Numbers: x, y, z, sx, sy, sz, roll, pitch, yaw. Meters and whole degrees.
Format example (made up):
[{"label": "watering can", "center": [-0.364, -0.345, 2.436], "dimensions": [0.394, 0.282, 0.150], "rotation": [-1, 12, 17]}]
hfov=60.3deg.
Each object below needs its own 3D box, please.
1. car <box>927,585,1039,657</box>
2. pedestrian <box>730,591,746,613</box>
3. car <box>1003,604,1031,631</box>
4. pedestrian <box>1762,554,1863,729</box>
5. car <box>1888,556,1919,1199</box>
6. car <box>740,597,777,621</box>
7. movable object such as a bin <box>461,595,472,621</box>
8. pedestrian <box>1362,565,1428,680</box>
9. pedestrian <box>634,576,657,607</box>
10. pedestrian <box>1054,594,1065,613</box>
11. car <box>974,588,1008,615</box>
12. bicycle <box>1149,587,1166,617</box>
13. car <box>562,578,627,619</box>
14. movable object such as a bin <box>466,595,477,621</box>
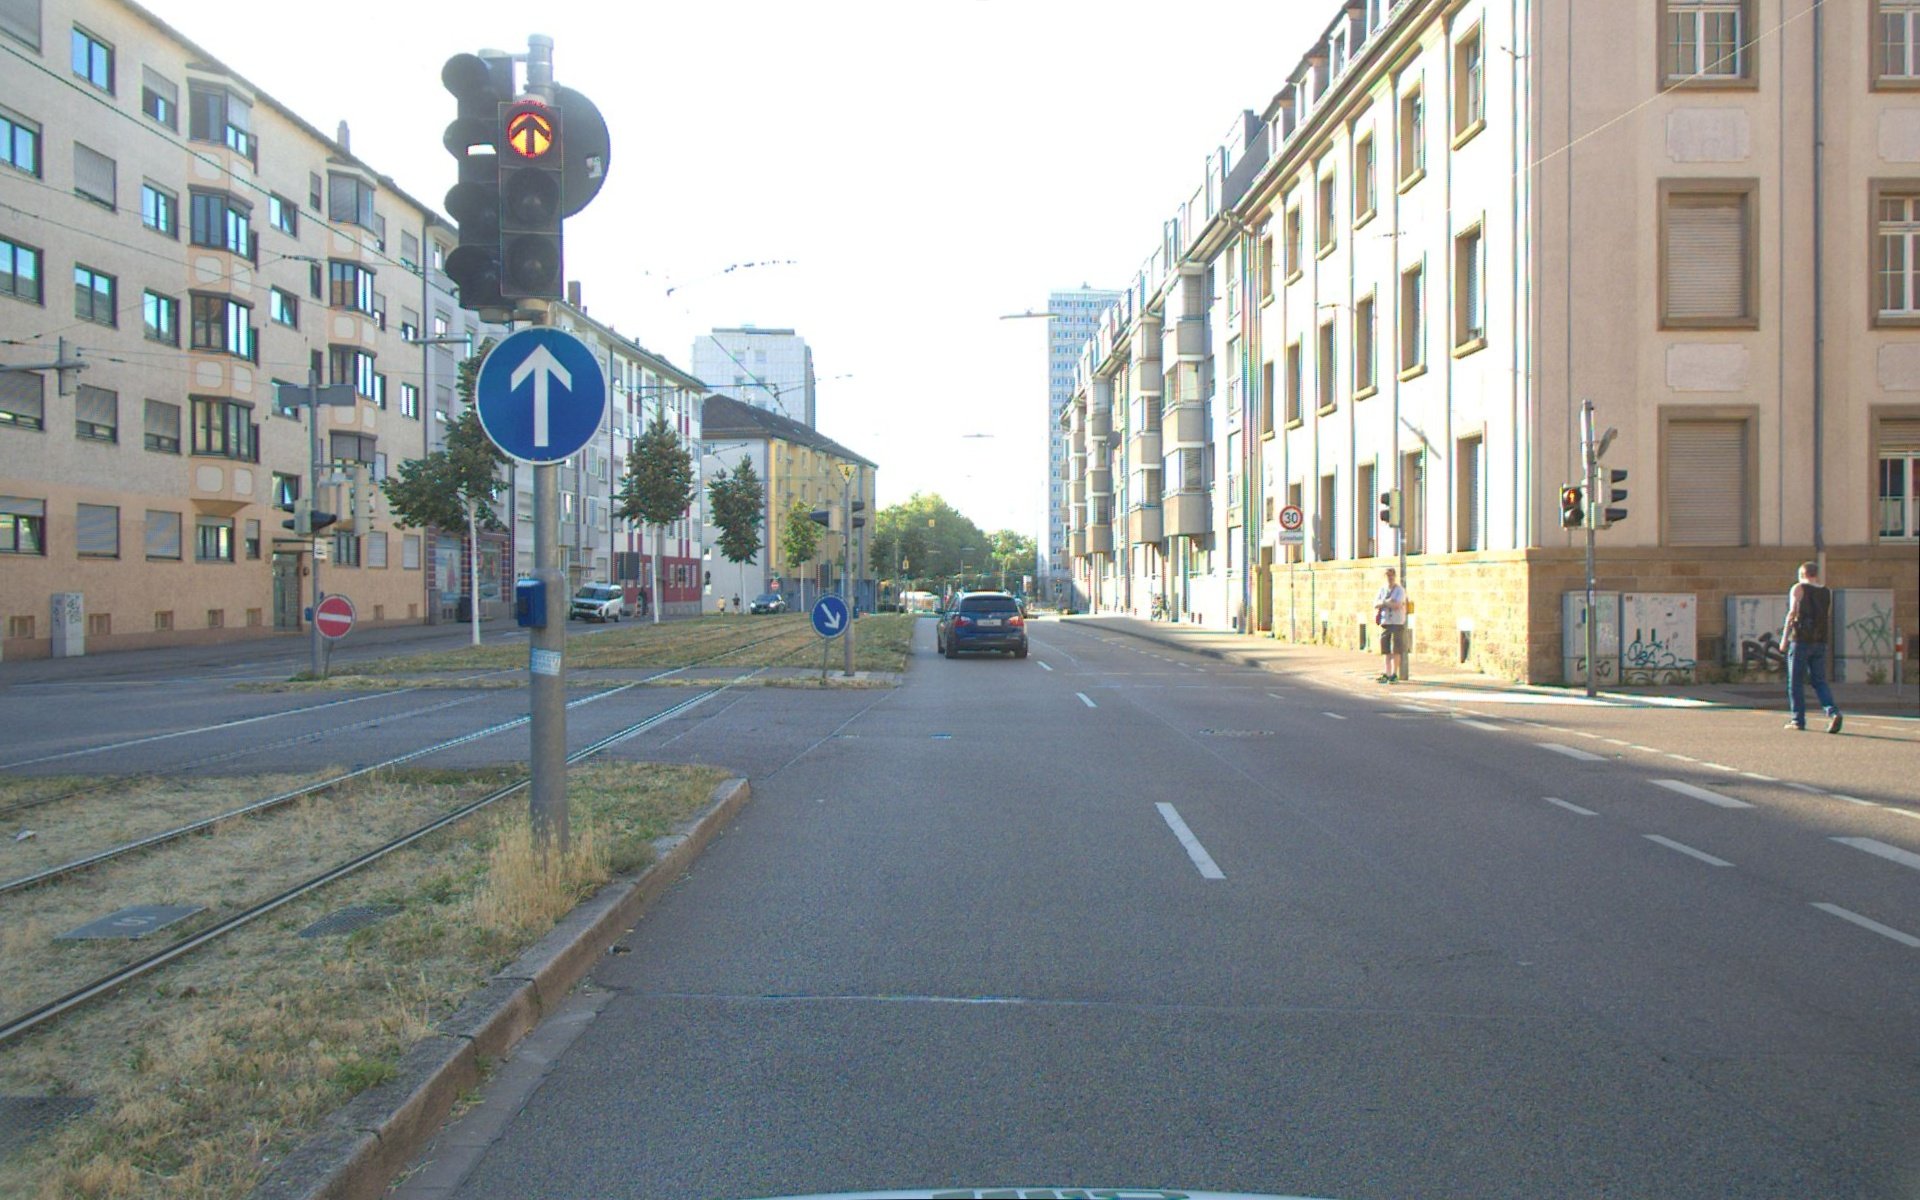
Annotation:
[{"label": "car", "center": [0.436, 0.450, 36.644], "dimensions": [1.890, 1.481, 4.320], "rotation": [1, 0, -7]}, {"label": "pedestrian", "center": [-16.801, 0.159, 125.101], "dimensions": [0.942, 1.699, 1.011], "rotation": [1, 0, 4]}, {"label": "car", "center": [4.391, 1.334, 128.256], "dimensions": [1.953, 2.049, 3.999], "rotation": [-1, 0, -1]}, {"label": "pedestrian", "center": [8.988, 0.428, 17.458], "dimensions": [0.616, 1.789, 0.825], "rotation": [1, -1, -1]}, {"label": "car", "center": [2.870, 0.726, 1.469], "dimensions": [1.663, 1.580, 4.225], "rotation": [1, 0, -1]}, {"label": "car", "center": [-14.156, 0.608, 116.406], "dimensions": [1.857, 1.662, 4.749], "rotation": [-1, 0, 3]}, {"label": "movable object such as a bin", "center": [-20.250, 0.340, 67.878], "dimensions": [0.292, 1.054, 0.441], "rotation": [1, -1, 0]}, {"label": "pedestrian", "center": [6.942, 0.354, 26.437], "dimensions": [0.818, 1.793, 0.824], "rotation": [1, -1, -1]}, {"label": "pedestrian", "center": [-18.745, -0.486, 98.600], "dimensions": [1.246, 1.791, 1.271], "rotation": [1, 0, -10]}, {"label": "pedestrian", "center": [6.763, 0.232, 112.530], "dimensions": [0.677, 1.256, 0.736], "rotation": [1, 0, -1]}, {"label": "car", "center": [1.851, 0.109, 99.613], "dimensions": [1.952, 1.591, 4.000], "rotation": [1, 0, 0]}, {"label": "bicycle", "center": [7.410, 0.084, 62.119], "dimensions": [0.376, 1.115, 1.503], "rotation": [-1, 0, -3]}, {"label": "car", "center": [-17.911, -0.064, 81.320], "dimensions": [1.952, 1.958, 4.543], "rotation": [1, 0, 3]}, {"label": "movable object such as a bin", "center": [-20.200, 0.331, 68.420], "dimensions": [0.292, 1.054, 0.441], "rotation": [1, -1, -2]}]
